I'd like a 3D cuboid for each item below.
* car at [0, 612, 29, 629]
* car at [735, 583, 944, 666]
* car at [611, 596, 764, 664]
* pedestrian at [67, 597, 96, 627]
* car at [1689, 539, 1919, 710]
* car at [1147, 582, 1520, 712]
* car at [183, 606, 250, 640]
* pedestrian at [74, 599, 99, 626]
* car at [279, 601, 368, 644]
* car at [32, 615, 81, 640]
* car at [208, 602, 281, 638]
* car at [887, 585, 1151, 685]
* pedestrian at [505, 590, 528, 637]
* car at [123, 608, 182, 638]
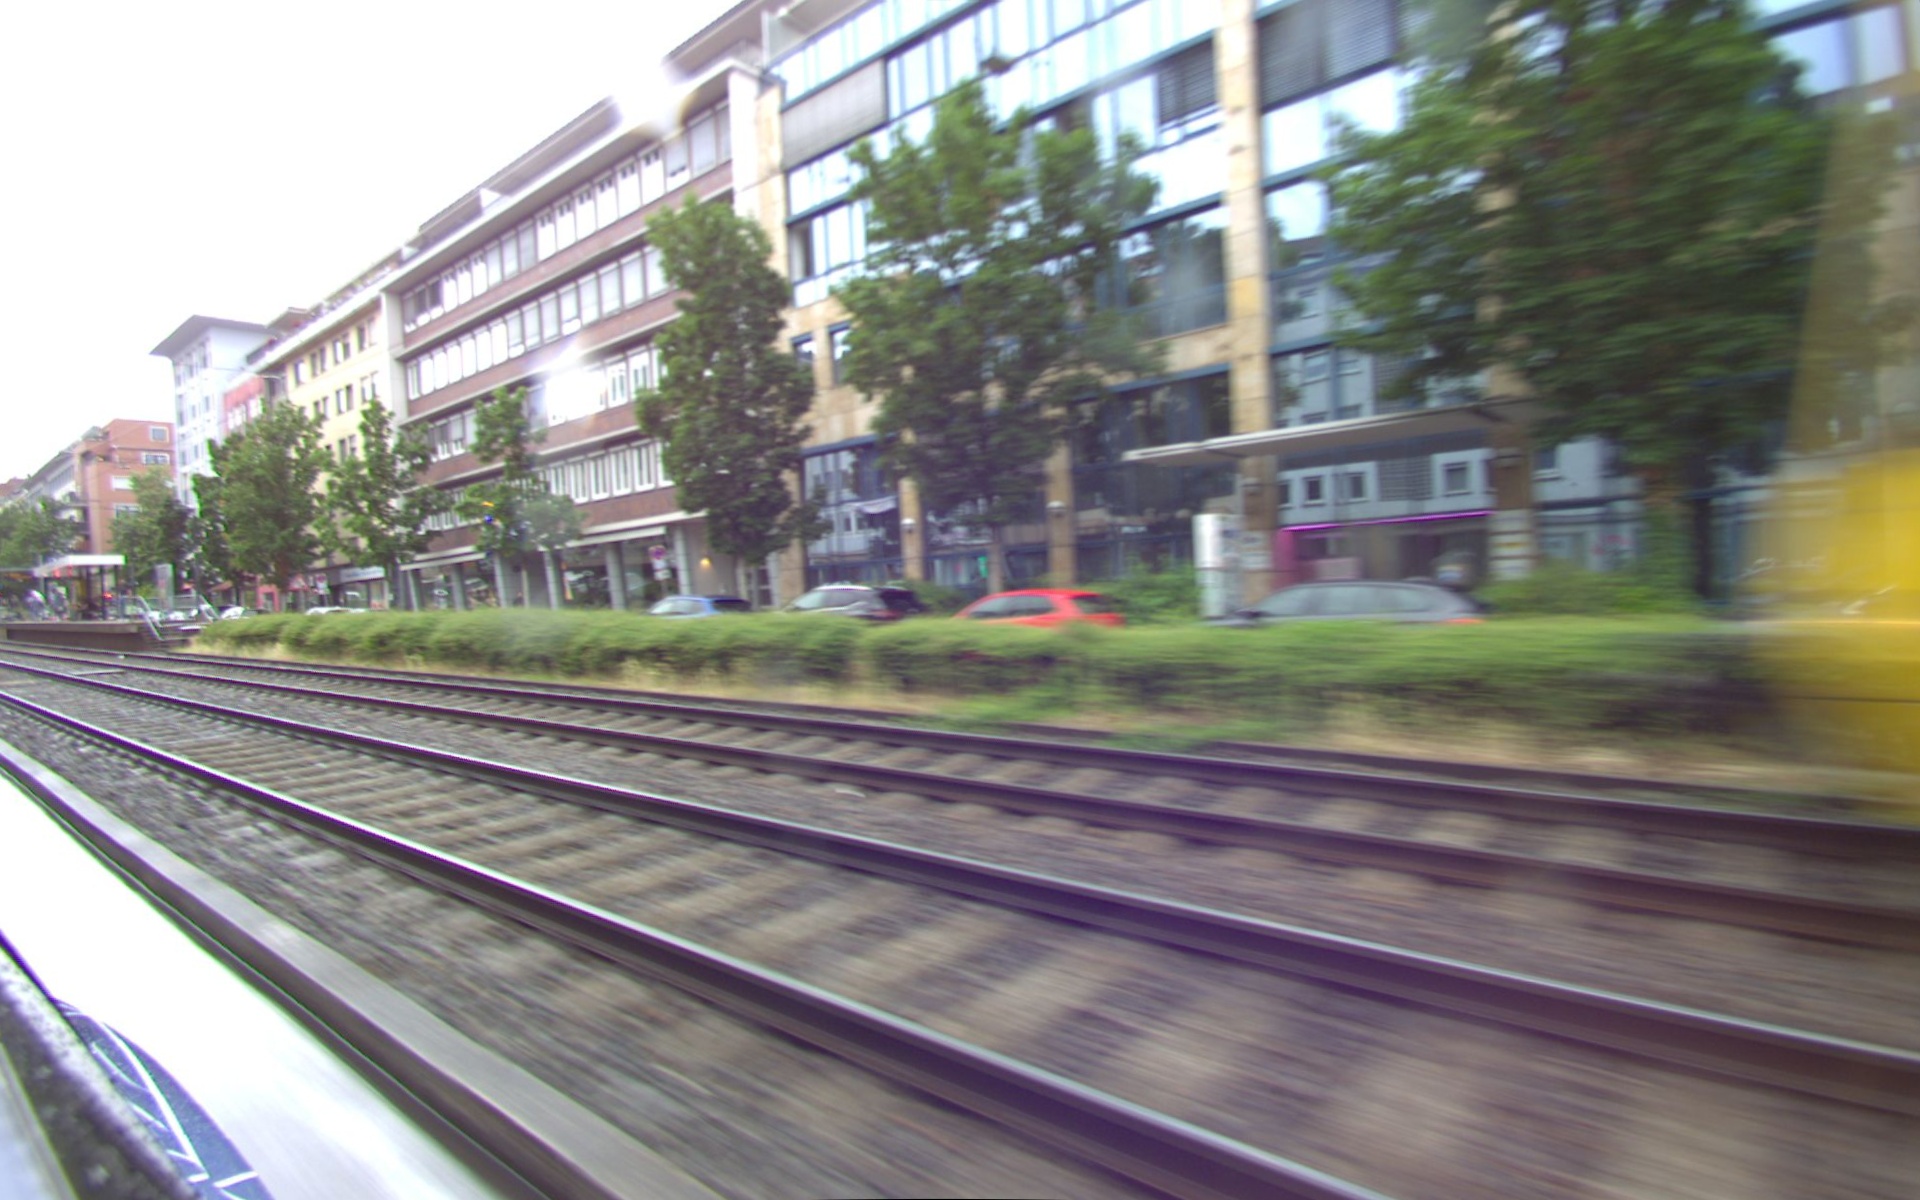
[{"bbox_3d":[-98.563,2.124,105.312,3.997,1.674,1.974,-1,1,40],"label":"car"},{"bbox_3d":[-2.599,0.490,20.990,4.620,1.552,1.632,-2,0,42],"label":"car"},{"bbox_3d":[-6.698,0.710,24.671,4.066,1.509,1.632,-2,0,42],"label":"car"},{"bbox_3d":[-42.768,0.577,49.284,0.637,1.396,0.946,-2,0,38],"label":"pedestrian"},{"bbox_3d":[9.873,0.207,9.901,4.291,1.613,1.632,-2,0,42],"label":"car"},{"bbox_3d":[5.078,0.597,14.218,4.620,1.552,1.632,-2,0,42],"label":"car"},{"bbox_3d":[-39.312,1.220,53.491,3.997,1.674,1.973,-2,0,40],"label":"car"},{"bbox_3d":[-42.221,0.606,48.936,0.637,1.265,0.805,-2,0,38],"label":"pedestrian"},{"bbox_3d":[-26.560,0.945,42.191,3.997,1.674,1.973,-2,0,40],"label":"car"},{"bbox_3d":[-63.111,1.919,70.676,3.997,1.674,1.973,-2,0,40],"label":"car"},{"bbox_3d":[-35.079,0.985,49.568,3.997,1.674,1.973,-2,0,40],"label":"car"},{"bbox_3d":[0.922,0.579,17.850,4.620,1.552,1.632,-2,0,42],"label":"car"},{"bbox_3d":[-17.922,0.555,40.902,0.743,1.883,0.569,-2,0,41],"label":"pedestrian"},{"bbox_3d":[-47.905,1.343,60.029,3.997,1.674,1.973,-2,0,40],"label":"car"}]
